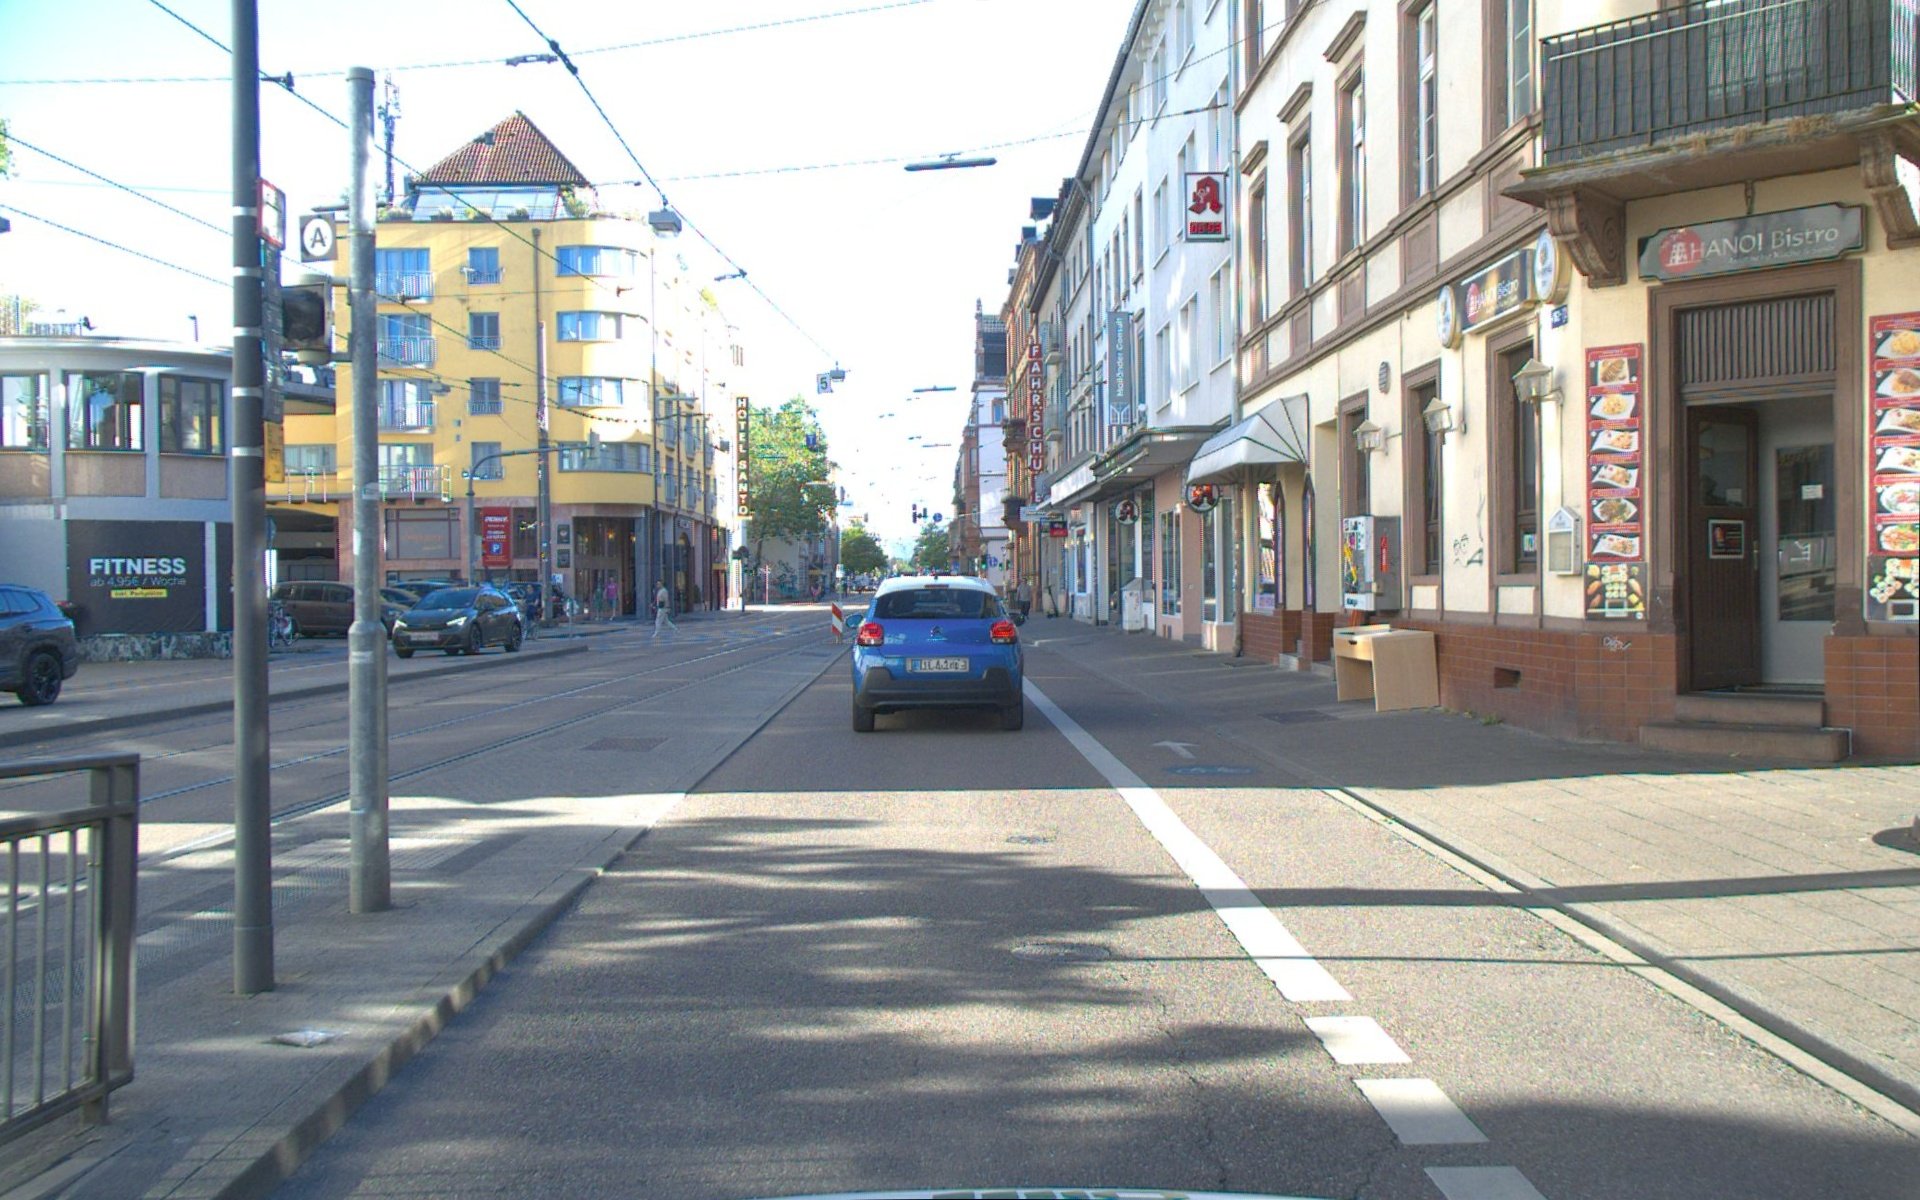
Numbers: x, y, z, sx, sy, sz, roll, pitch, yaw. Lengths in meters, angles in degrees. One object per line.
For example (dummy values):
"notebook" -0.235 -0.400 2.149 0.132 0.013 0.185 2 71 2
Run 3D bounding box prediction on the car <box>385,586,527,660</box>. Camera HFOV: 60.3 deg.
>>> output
"car" -11.503 0.481 38.021 1.911 1.512 4.001 -2 1 1

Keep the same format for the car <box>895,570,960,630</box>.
"car" -1.013 0.025 51.961 1.953 1.773 3.999 1 -1 -1

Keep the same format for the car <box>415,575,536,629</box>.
"car" -17.772 0.053 60.821 3.909 1.880 1.956 -1 1 -5

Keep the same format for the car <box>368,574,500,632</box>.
"car" -17.838 0.074 56.257 3.909 1.880 1.956 -1 1 -5

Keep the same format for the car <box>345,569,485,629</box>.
"car" -17.563 -0.043 53.464 3.909 1.880 1.956 -1 1 -5

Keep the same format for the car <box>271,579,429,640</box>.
"car" -17.787 0.245 48.343 3.909 1.704 1.956 -1 1 -5

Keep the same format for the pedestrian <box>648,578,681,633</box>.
"pedestrian" -9.195 0.177 51.482 0.829 1.683 0.691 -1 1 -30

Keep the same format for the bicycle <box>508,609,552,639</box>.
"bicycle" -12.875 0.706 49.592 0.665 0.841 2.576 -1 1 0

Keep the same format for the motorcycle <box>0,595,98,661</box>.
"motorcycle" -19.131 0.576 33.946 2.463 1.311 0.667 -1 1 -4

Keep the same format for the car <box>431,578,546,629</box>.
"car" -18.179 0.111 63.875 3.909 1.880 1.956 -1 1 -5

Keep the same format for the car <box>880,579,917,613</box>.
"car" -3.366 -0.201 91.109 1.953 1.773 3.999 1 -1 -1

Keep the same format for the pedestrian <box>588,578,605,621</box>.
"pedestrian" -16.015 -0.040 72.909 0.683 1.862 0.838 -1 1 -13

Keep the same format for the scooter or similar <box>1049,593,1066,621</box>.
"scooter or similar" 3.536 0.235 60.163 0.501 0.976 1.851 -1 1 0

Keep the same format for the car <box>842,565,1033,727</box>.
"car" -0.237 0.407 17.129 1.745 1.476 3.653 1 1 -1

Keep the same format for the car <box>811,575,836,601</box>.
"car" -11.523 -1.008 139.840 1.954 2.049 3.997 1 -1 -3

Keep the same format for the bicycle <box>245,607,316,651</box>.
"bicycle" -17.130 0.710 41.759 0.665 1.020 2.686 -1 1 0

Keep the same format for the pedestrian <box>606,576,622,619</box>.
"pedestrian" -15.283 -0.121 73.050 0.683 1.890 0.838 -1 1 -13

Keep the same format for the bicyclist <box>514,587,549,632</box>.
"bicyclist" -12.862 0.274 49.645 0.715 1.314 1.180 -1 1 0

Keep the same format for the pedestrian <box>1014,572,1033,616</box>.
"pedestrian" 2.442 -0.238 63.573 0.679 1.680 0.680 -1 0 -2

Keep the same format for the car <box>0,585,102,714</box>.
"car" -13.229 0.681 21.160 1.716 1.643 4.830 -2 1 3
